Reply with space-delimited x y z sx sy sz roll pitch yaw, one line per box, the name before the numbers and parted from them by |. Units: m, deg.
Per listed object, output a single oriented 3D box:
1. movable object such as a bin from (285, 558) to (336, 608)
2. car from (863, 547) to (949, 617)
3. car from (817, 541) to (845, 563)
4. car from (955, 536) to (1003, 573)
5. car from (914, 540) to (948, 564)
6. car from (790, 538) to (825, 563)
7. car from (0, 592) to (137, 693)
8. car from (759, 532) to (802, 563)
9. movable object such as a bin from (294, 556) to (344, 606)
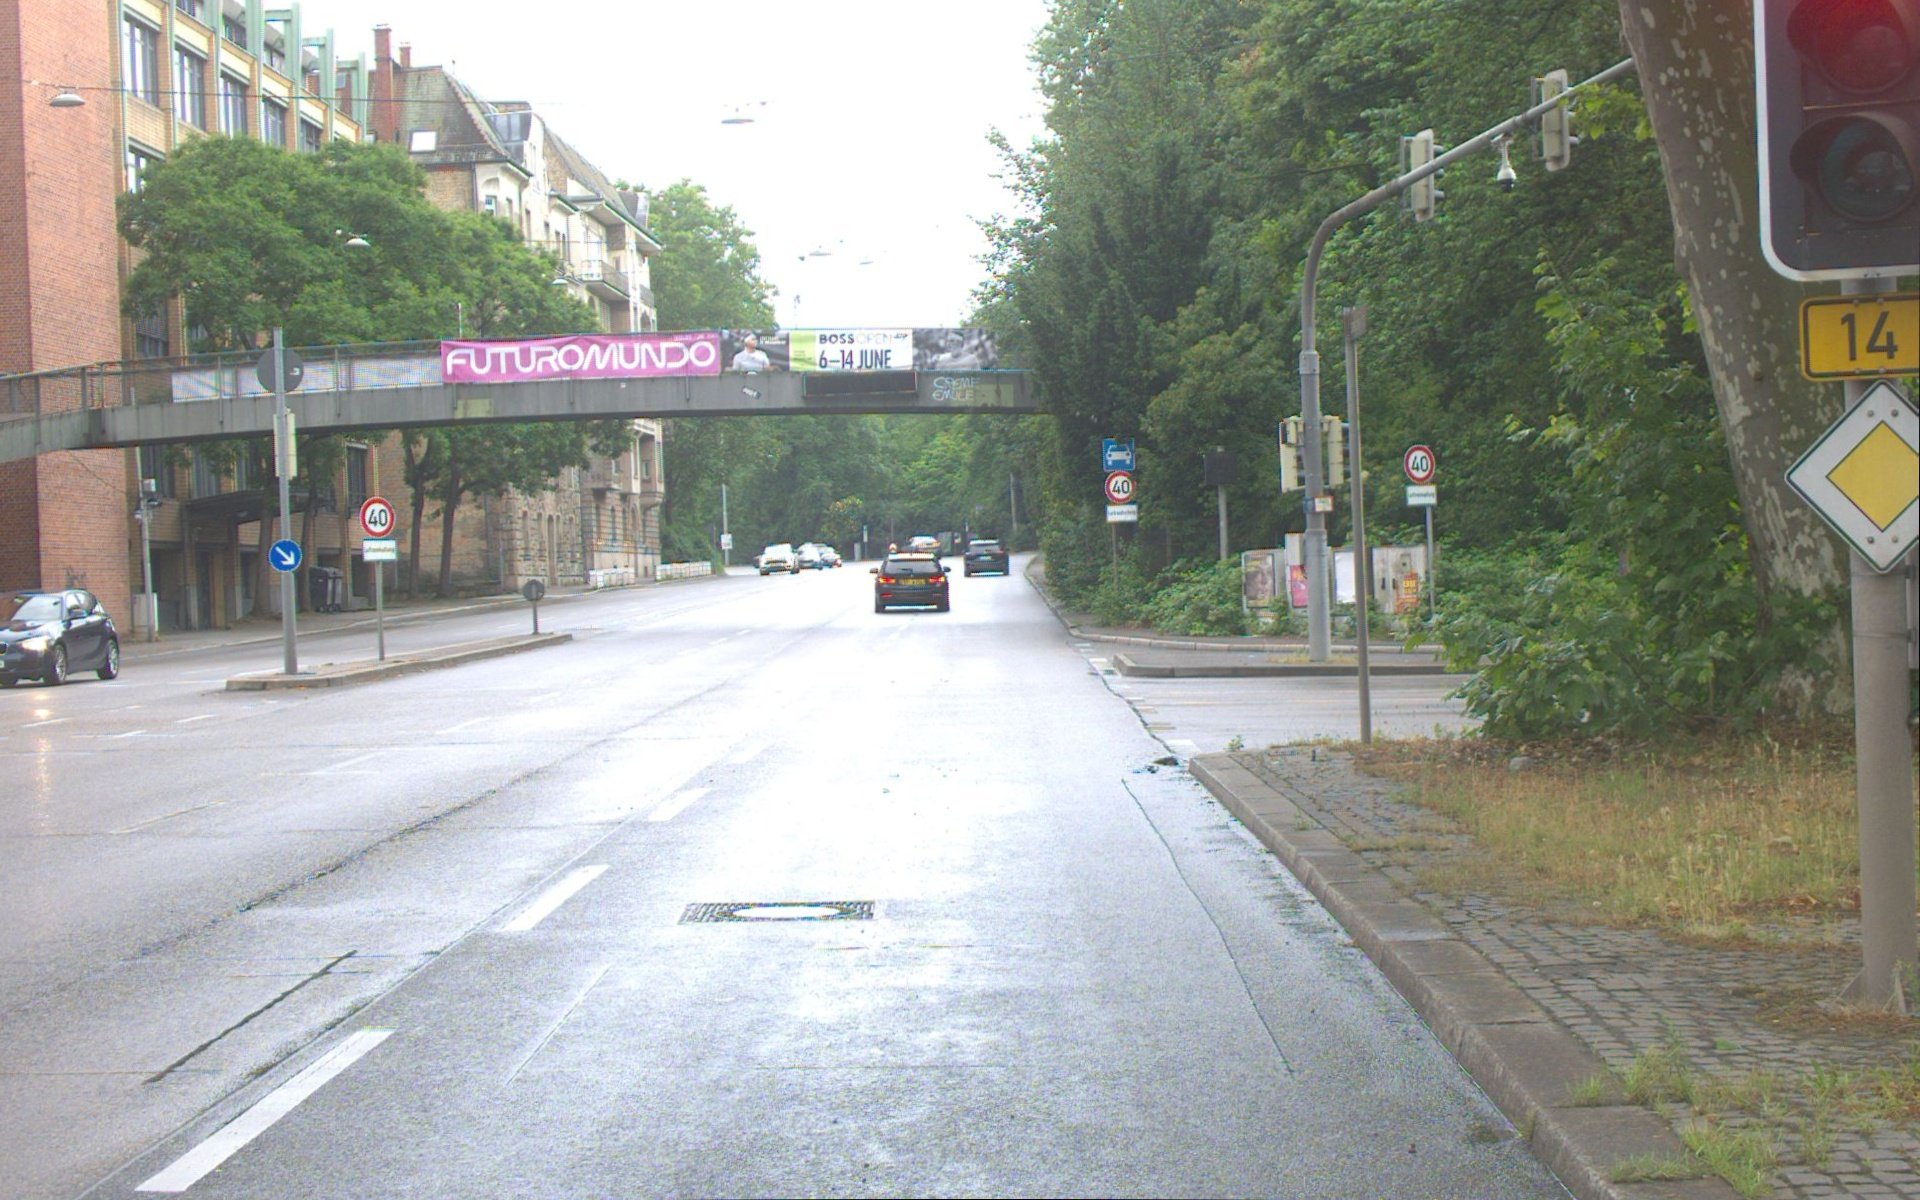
movable object such as a bin | -20.207 -0.542 107.015 1.282 1.513 1.273 -1 1 1
car | -1.350 -0.453 84.562 2.004 1.638 4.376 -2 1 -2
car | -8.813 -3.290 234.934 1.683 1.431 3.862 -2 0 0
car | 0.752 -1.830 138.589 1.842 1.448 3.777 1 1 -1
car | -2.044 -3.321 238.511 1.889 1.604 4.457 -1 0 -6
car | -9.222 -2.980 208.513 1.709 1.459 4.041 -2 0 3
car | -13.700 0.639 50.848 1.686 1.414 4.214 -2 -1 5
car | -9.572 -2.794 183.696 1.890 1.604 4.456 -1 0 2
movable object such as a bin | -20.225 -0.608 108.490 1.299 1.513 1.214 -1 1 1
